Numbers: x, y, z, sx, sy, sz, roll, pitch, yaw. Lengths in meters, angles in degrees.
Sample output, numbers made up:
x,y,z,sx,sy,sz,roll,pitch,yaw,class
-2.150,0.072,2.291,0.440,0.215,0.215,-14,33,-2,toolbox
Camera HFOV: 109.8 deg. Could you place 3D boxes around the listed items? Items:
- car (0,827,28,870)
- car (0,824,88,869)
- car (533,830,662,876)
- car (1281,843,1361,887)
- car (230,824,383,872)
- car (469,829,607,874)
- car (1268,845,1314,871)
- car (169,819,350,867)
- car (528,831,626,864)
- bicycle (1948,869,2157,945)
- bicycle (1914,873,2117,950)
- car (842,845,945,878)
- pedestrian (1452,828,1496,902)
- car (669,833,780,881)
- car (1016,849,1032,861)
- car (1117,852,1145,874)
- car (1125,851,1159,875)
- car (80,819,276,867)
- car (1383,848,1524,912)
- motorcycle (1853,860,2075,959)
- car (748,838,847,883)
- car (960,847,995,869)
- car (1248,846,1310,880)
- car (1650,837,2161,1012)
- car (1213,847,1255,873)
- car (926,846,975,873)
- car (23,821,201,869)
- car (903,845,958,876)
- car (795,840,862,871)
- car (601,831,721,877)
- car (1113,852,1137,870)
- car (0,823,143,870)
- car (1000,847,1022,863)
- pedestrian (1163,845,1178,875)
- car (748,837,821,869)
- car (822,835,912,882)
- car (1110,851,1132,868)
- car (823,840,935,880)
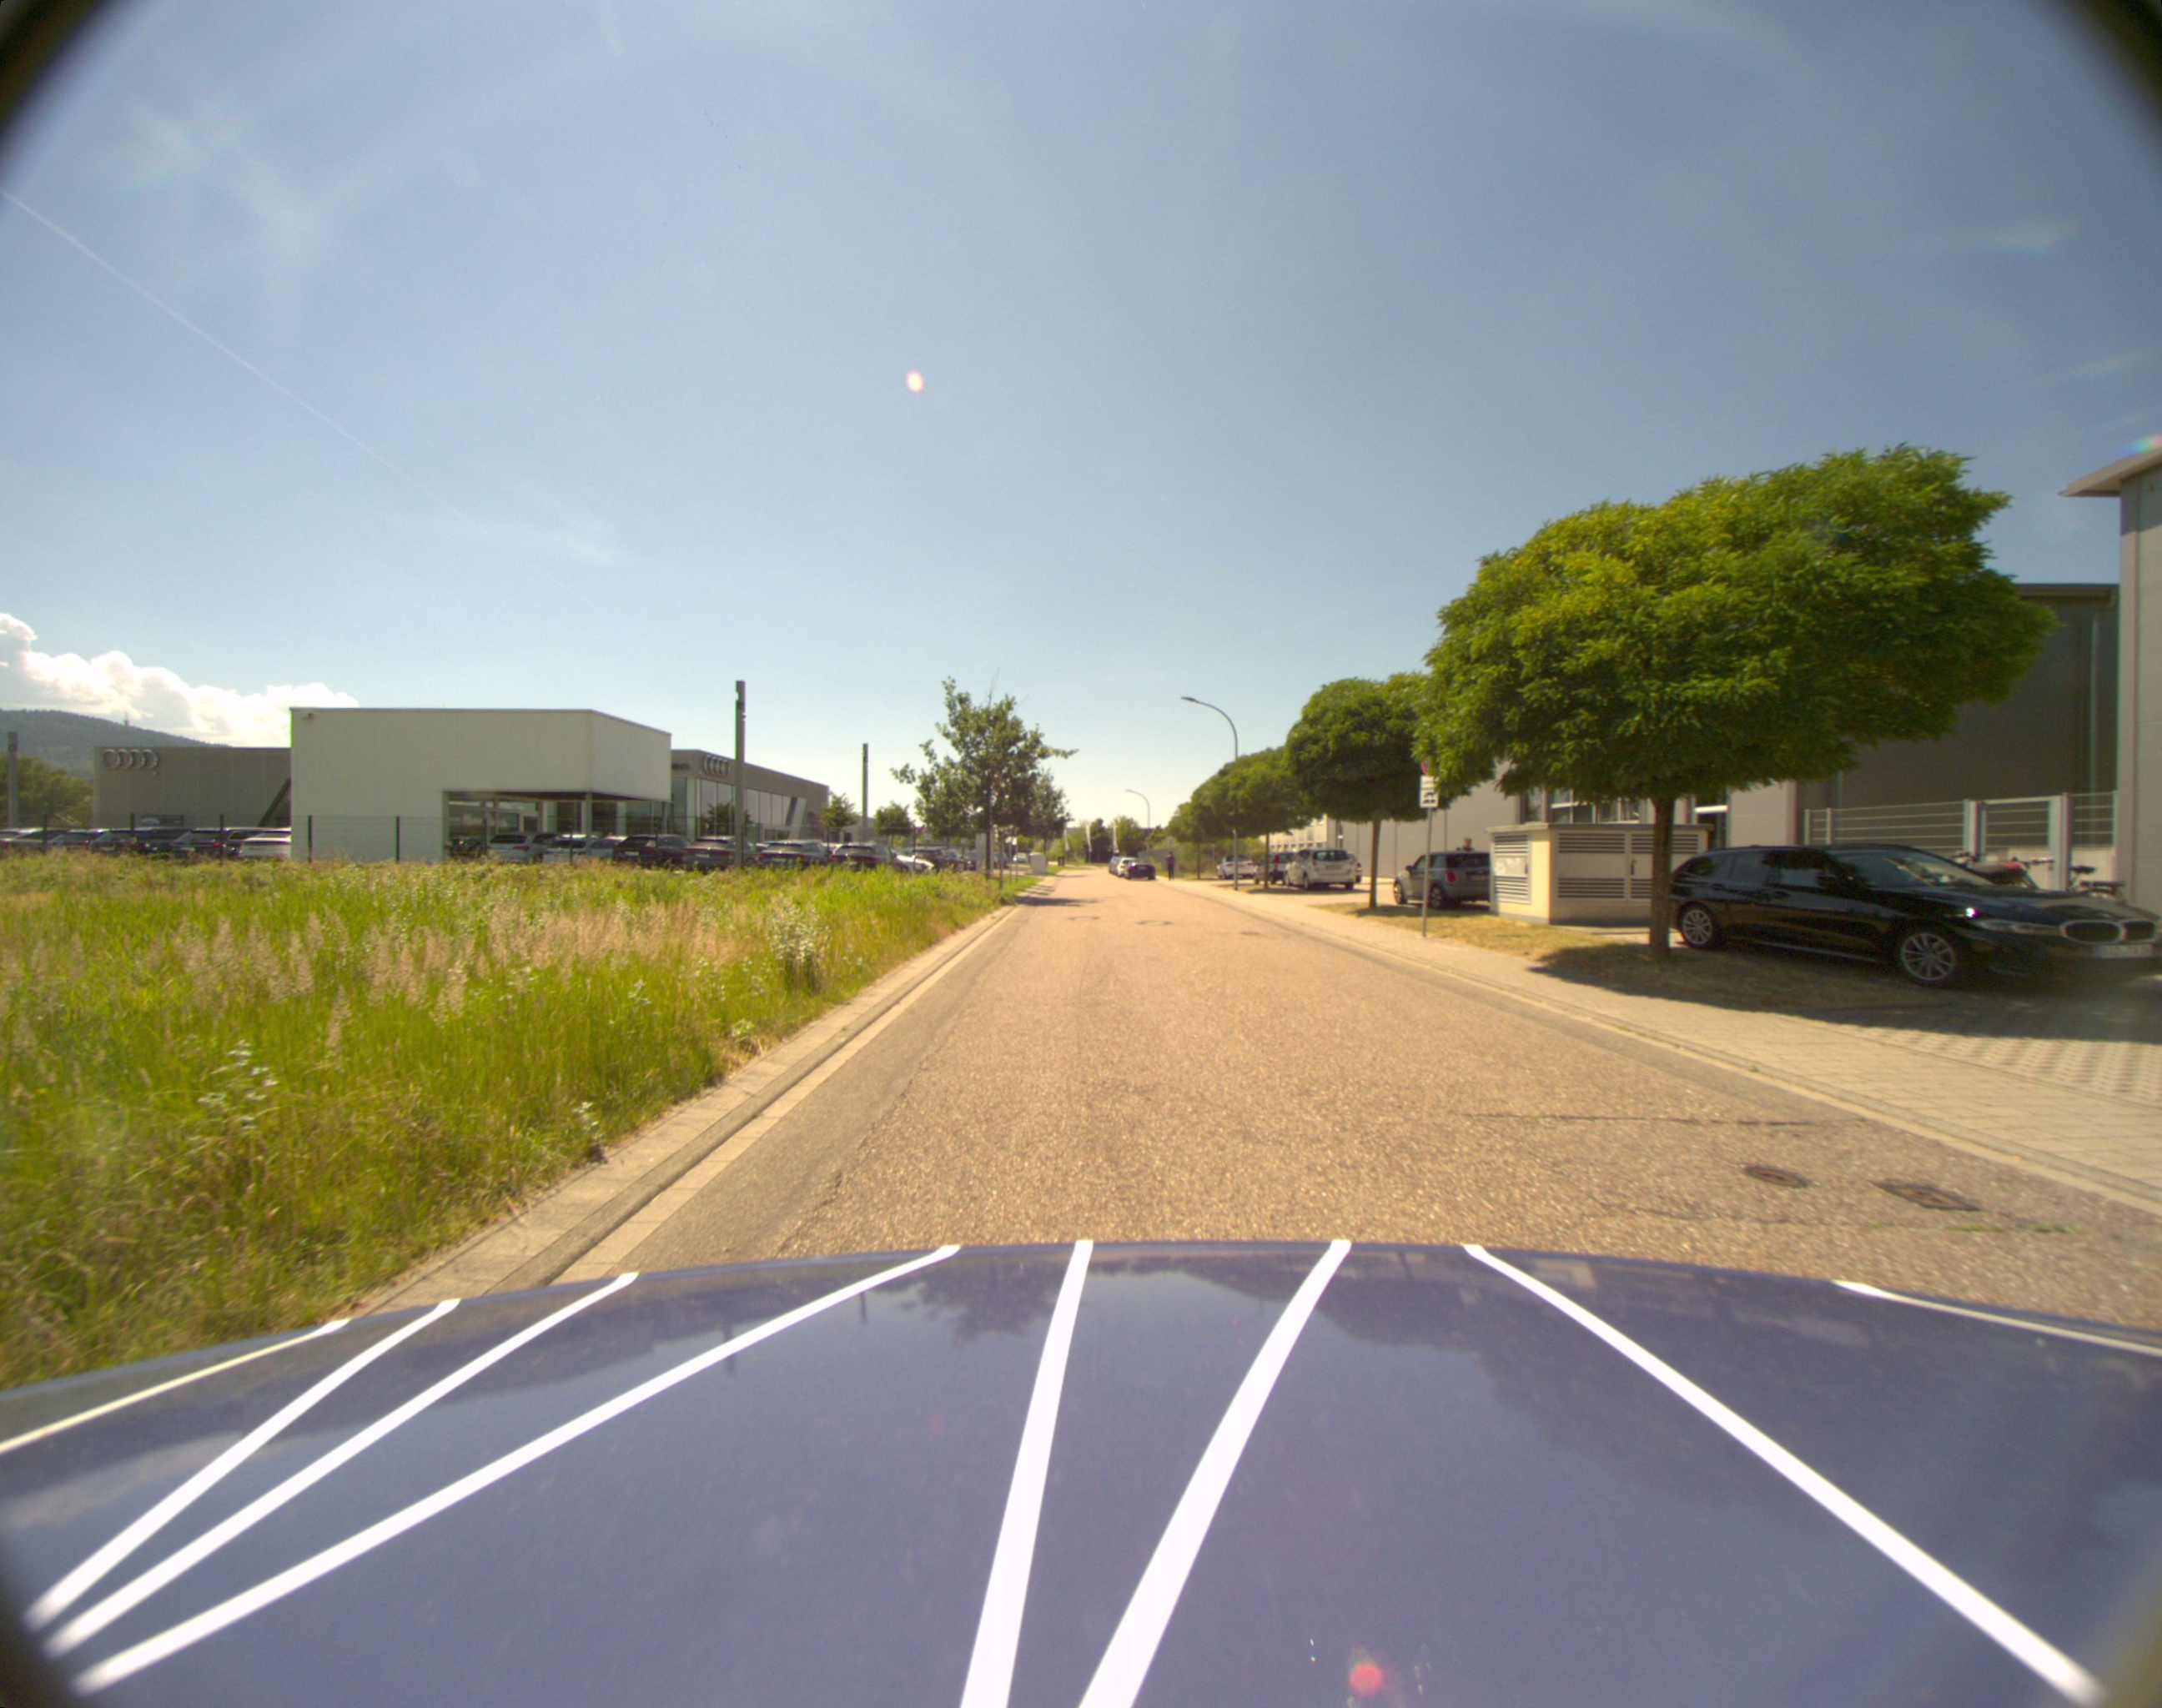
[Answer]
x,y,z,sx,sy,sz,roll,pitch,yaw,class
-46.097,-0.229,30.531,1.998,1.774,3.999,1,1,0,car
-43.447,-0.295,30.474,1.998,1.774,3.999,1,1,0,car
-19.336,-0.053,30.720,2.029,1.644,4.809,2,0,2,car
9.362,0.405,30.034,1.770,1.564,4.539,-1,0,1,car
-30.646,-0.247,30.255,1.998,1.774,3.999,1,1,0,car
-21.904,-0.096,30.933,2.029,1.644,4.809,2,0,2,car
13.022,0.238,47.363,1.828,1.491,4.259,-2,0,2,car
-33.042,-0.416,30.825,2.029,1.715,4.809,2,0,2,car
-27.112,-0.338,41.100,2.030,1.580,4.779,2,0,0,car
14.393,0.738,11.364,0.436,0.972,2.064,-2,0,-1,bicycle
13.788,0.811,11.322,0.436,0.972,2.064,-2,0,-1,bicycle
-9.192,0.356,37.546,4.540,1.449,2.031,2,0,-1,car
10.732,0.290,20.758,0.840,1.961,0.967,-1,1,40,pedestrian
-14.080,0.097,30.412,2.029,1.715,4.809,2,0,2,car
-7.730,0.111,102.731,1.824,1.519,4.944,2,0,-1,car
3.646,0.642,56.008,1.829,1.491,4.259,1,0,0,car
3.967,0.573,49.975,1.829,1.491,4.525,1,0,0,car
-35.916,-0.418,30.479,2.029,1.715,4.809,2,0,2,car
9.313,0.592,19.369,1.770,1.445,3.840,-1,0,1,car
11.685,0.670,10.184,0.516,1.155,2.081,-2,0,-1,motorcycle
-11.241,0.234,30.523,2.029,1.601,4.809,2,0,2,car
-8.018,0.273,59.119,1.966,1.448,4.984,2,2,0,car
9.129,0.384,35.275,1.687,1.491,3.703,0,0,-5,car
9.308,0.597,8.884,1.770,1.445,4.714,-2,0,0,car
9.286,0.340,46.437,1.828,1.491,4.328,-2,0,2,car
-8.095,0.332,47.555,2.030,1.505,5.239,3,0,0,car
-38.478,-0.357,30.356,1.998,1.774,3.999,1,1,0,car
-8.236,0.322,42.117,2.030,1.564,4.779,2,0,0,car
-13.837,0.072,41.981,2.030,1.580,4.779,2,0,0,car
-16.728,-0.002,30.618,2.029,1.670,4.809,2,0,2,car
3.843,0.598,66.751,1.829,1.491,4.520,1,0,0,car
-41.077,-0.305,30.438,1.998,1.774,3.999,1,1,0,car
-7.166,0.109,78.030,1.892,1.562,4.227,3,0,-1,car
5.481,0.369,46.484,0.746,1.791,1.135,-2,0,2,pedestrian
-16.217,-0.061,41.847,2.030,1.580,4.779,2,0,0,car
-8.544,0.168,30.847,2.029,1.683,5.108,2,0,2,car
3.848,0.499,73.168,1.829,1.561,4.386,1,0,-1,car
-9.225,0.262,34.917,4.539,1.683,2.032,2,0,2,car
